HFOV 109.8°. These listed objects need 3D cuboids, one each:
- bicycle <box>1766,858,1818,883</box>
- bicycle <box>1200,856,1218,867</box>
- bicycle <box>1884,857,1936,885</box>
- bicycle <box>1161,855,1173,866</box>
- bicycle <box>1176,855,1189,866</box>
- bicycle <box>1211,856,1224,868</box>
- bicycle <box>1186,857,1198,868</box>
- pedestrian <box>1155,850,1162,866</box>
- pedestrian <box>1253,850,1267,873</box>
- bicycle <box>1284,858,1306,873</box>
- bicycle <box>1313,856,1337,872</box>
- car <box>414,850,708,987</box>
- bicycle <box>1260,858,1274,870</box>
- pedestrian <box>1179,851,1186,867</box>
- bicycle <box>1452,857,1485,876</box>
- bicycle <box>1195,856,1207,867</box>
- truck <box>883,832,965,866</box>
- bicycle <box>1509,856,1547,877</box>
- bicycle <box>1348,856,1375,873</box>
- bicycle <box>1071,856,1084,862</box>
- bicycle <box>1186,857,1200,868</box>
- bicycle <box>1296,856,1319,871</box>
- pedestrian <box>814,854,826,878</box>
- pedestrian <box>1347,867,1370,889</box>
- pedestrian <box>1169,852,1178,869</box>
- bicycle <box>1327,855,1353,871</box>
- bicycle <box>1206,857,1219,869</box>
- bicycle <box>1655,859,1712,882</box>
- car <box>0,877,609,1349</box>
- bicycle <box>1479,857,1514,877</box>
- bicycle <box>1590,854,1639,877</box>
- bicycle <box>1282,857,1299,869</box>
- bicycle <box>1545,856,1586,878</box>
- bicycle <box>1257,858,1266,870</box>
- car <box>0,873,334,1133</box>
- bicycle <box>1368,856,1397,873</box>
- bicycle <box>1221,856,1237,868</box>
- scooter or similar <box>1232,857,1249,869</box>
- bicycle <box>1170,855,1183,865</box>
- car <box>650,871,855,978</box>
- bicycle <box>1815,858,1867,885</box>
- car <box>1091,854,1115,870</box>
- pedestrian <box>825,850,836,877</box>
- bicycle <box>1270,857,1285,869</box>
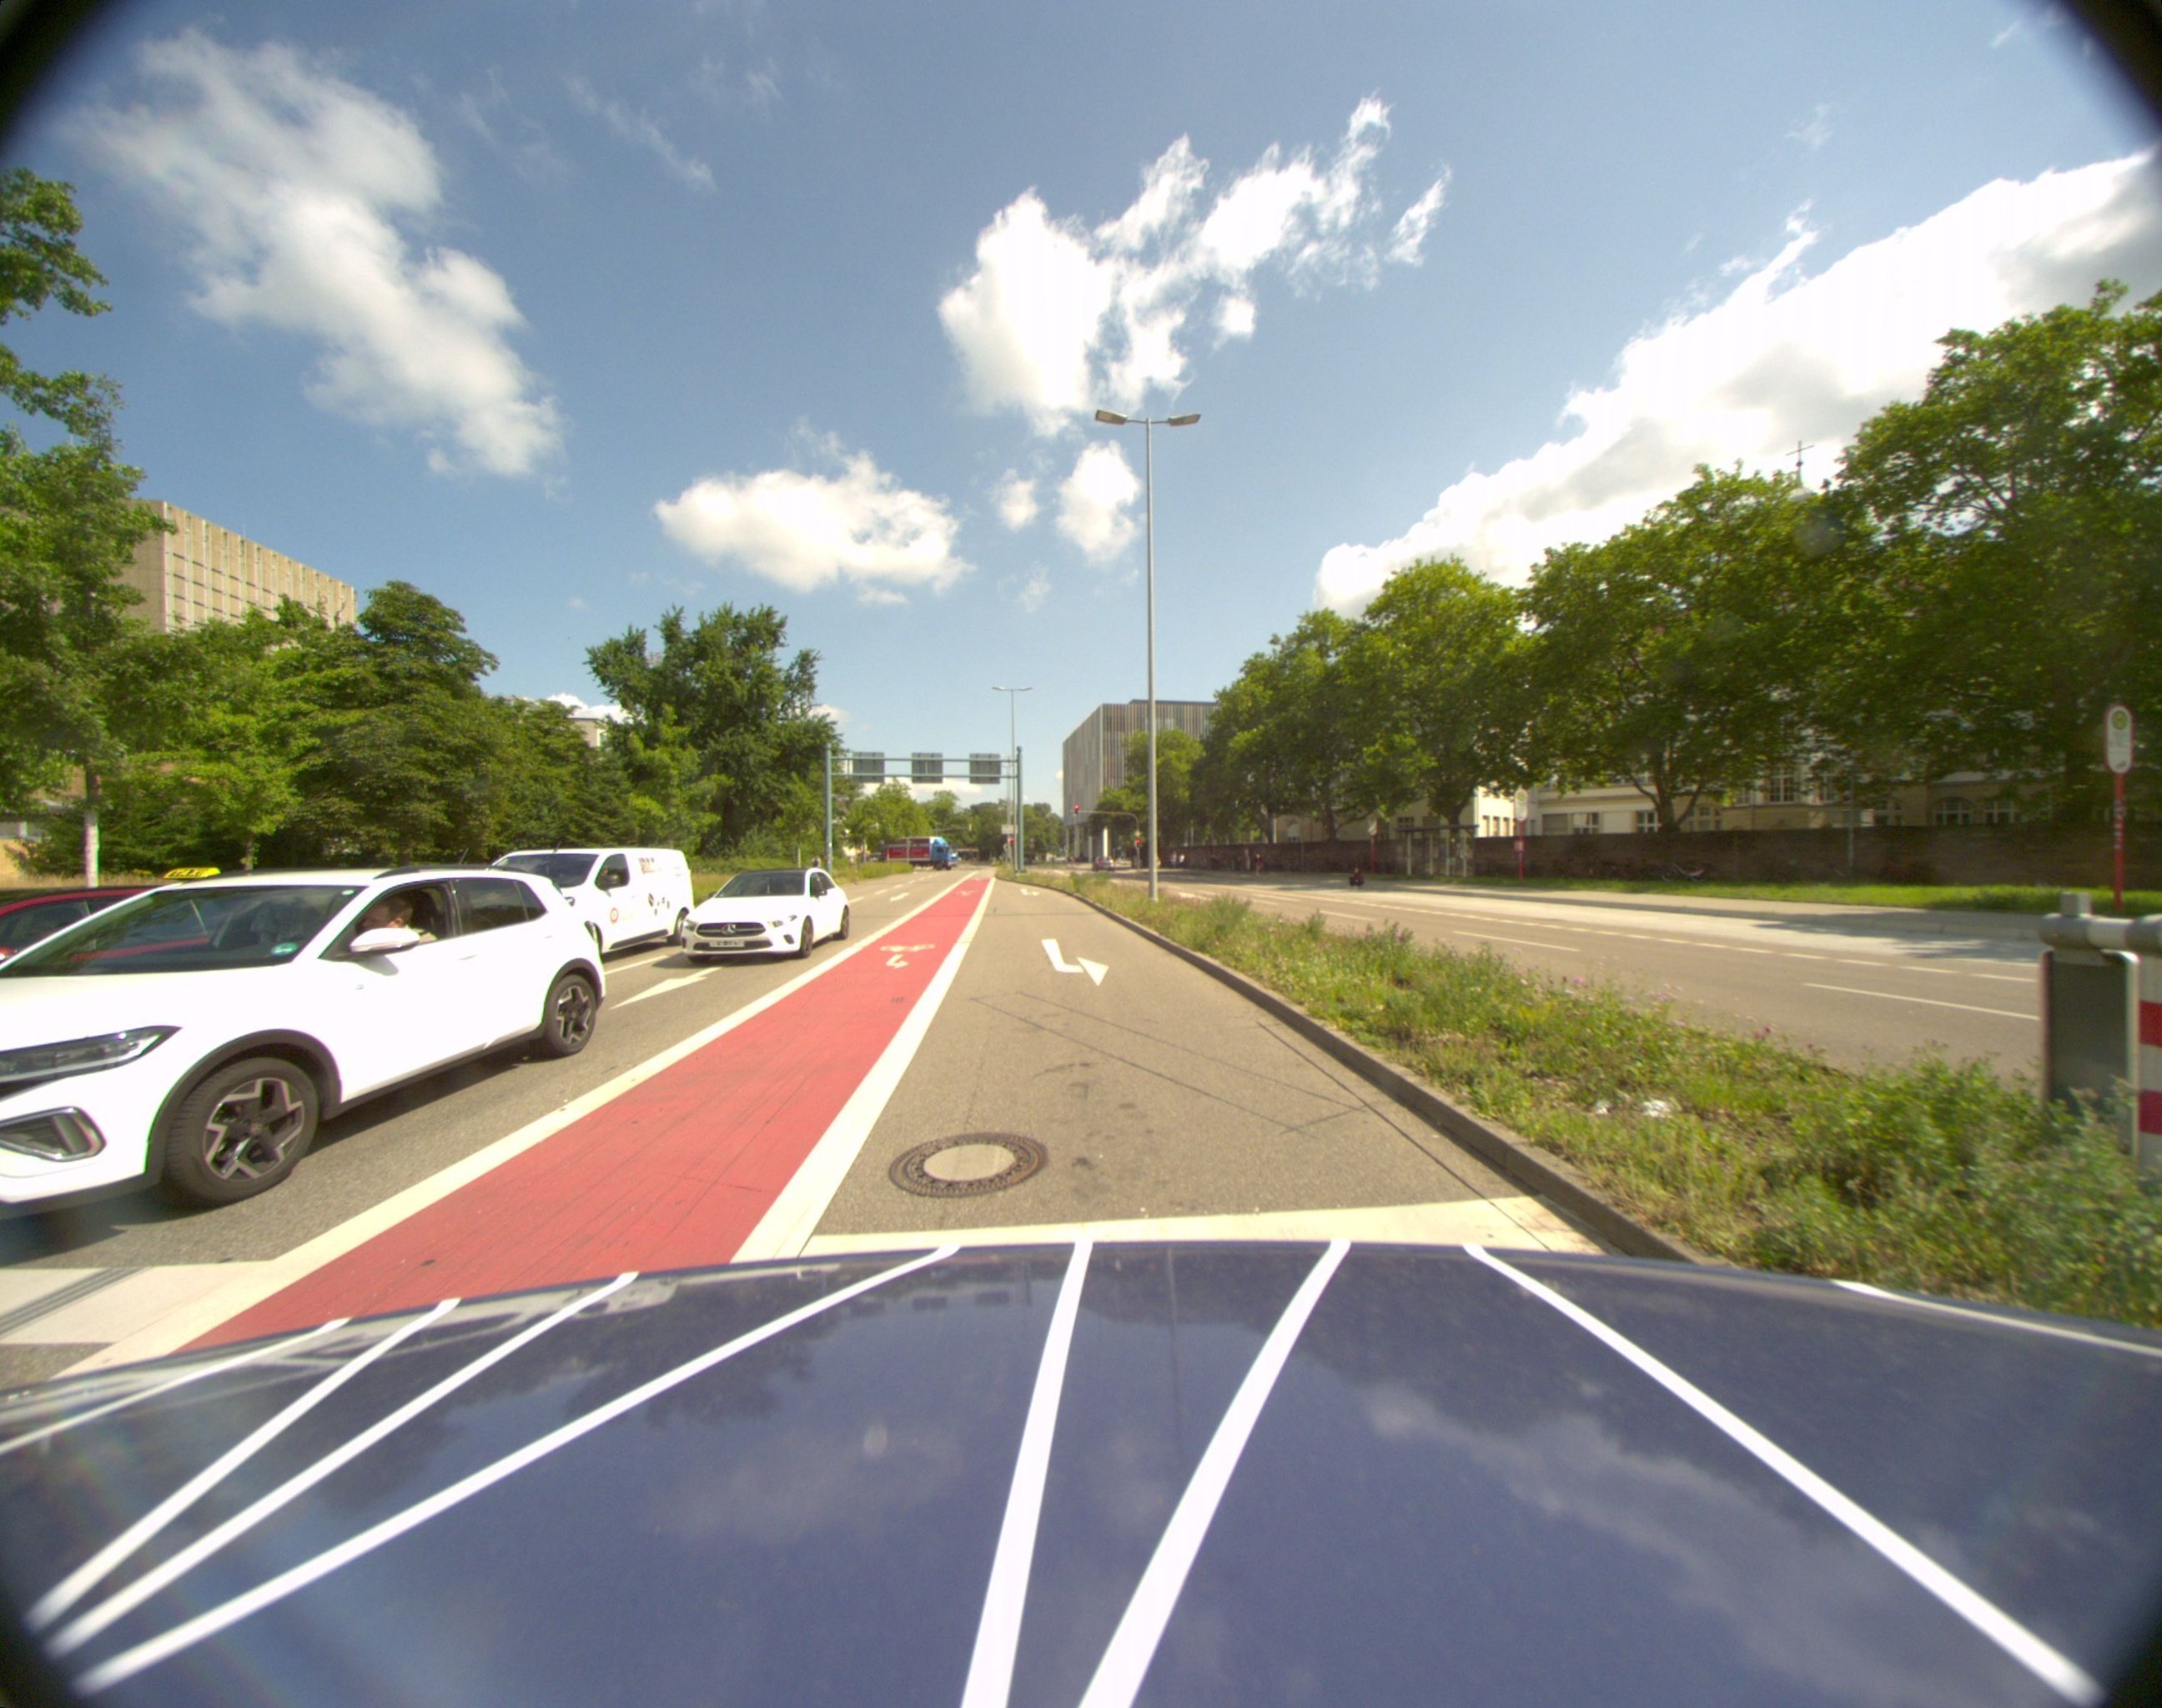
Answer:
[{"bbox_3d":[28.631,0.652,30.616,0.473,1.005,1.453,-1,0,-27],"label":"bicycle"},{"bbox_3d":[11.753,0.700,69.871,0.594,1.042,1.876,-1,0,-31],"label":"bicycle"},{"bbox_3d":[30.354,0.627,27.842,0.354,1.005,1.252,-1,0,-27],"label":"bicycle"},{"bbox_3d":[9.074,0.680,80.323,0.632,1.042,1.878,-1,0,-16],"label":"bicycle"},{"bbox_3d":[10.193,0.655,76.068,0.566,1.042,1.878,-1,0,-16],"label":"bicycle"},{"bbox_3d":[12.150,0.716,67.812,0.395,1.042,1.878,-1,0,-16],"label":"bicycle"},{"bbox_3d":[10.748,0.804,73.778,0.371,1.042,1.878,-1,0,-16],"label":"bicycle"},{"bbox_3d":[7.945,0.400,77.886,0.562,1.641,0.726,-1,1,-12],"label":"pedestrian"},{"bbox_3d":[12.303,0.515,52.208,0.658,1.600,0.744,-2,1,-5],"label":"pedestrian"},{"bbox_3d":[15.763,0.862,56.033,0.585,1.067,1.752,-1,0,-22],"label":"bicycle"},{"bbox_3d":[17.071,0.677,53.197,0.585,1.067,1.752,-1,0,-23],"label":"bicycle"},{"bbox_3d":[-8.360,0.891,12.919,1.948,1.859,4.823,-1,0,-5],"label":"car"},{"bbox_3d":[14.714,0.757,60.195,0.368,0.949,1.399,-1,0,-22],"label":"bicycle"},{"bbox_3d":[9.941,0.473,74.369,0.478,1.531,0.616,-1,1,-12],"label":"pedestrian"},{"bbox_3d":[21.752,0.682,42.655,0.585,1.067,1.628,-1,0,-28],"label":"bicycle"},{"bbox_3d":[11.329,0.726,71.841,0.371,1.042,1.878,-1,0,-16],"label":"bicycle"},{"bbox_3d":[-18.508,-0.563,89.516,9.171,3.777,2.669,-1,1,17],"label":"truck"},{"bbox_3d":[23.264,0.650,39.571,0.585,1.067,1.628,-1,0,-28],"label":"bicycle"},{"bbox_3d":[18.407,0.681,49.866,0.585,1.067,1.752,-1,0,-28],"label":"bicycle"},{"bbox_3d":[-0.501,0.774,113.174,1.771,0.887,0.639,-1,0,25],"label":"bicycle"},{"bbox_3d":[10.615,0.794,72.081,0.594,1.042,1.878,-1,0,-16],"label":"bicycle"},{"bbox_3d":[16.354,0.668,54.853,0.585,1.067,1.752,-1,0,-22],"label":"bicycle"},{"bbox_3d":[-17.485,0.794,50.869,0.625,1.571,0.708,-1,1,-6],"label":"pedestrian"},{"bbox_3d":[12.413,1.078,33.945,0.696,0.957,0.742,-1,1,-7],"label":"pedestrian"},{"bbox_3d":[8.980,0.640,73.747,0.643,1.641,0.730,-1,1,-12],"label":"pedestrian"},{"bbox_3d":[17.565,0.599,51.506,0.585,1.067,1.752,-1,0,-28],"label":"bicycle"},{"bbox_3d":[11.750,0.811,67.714,0.374,1.042,1.878,-1,0,-16],"label":"bicycle"},{"bbox_3d":[26.720,0.710,33.709,0.473,1.005,1.960,-1,0,-27],"label":"bicycle"},{"bbox_3d":[-4.888,1.006,4.560,1.796,1.530,4.009,-2,0,-5],"label":"car"},{"bbox_3d":[22.476,0.677,41.104,0.585,1.067,1.628,-1,0,-28],"label":"bicycle"},{"bbox_3d":[25.294,0.536,36.077,0.585,1.067,1.866,-1,0,-23],"label":"bicycle"},{"bbox_3d":[15.717,0.672,57.049,0.371,0.949,1.624,-1,0,-22],"label":"bicycle"},{"bbox_3d":[24.175,0.662,37.944,0.585,1.067,1.628,-1,0,-28],"label":"bicycle"},{"bbox_3d":[14.155,0.775,59.513,0.367,0.949,1.625,-1,0,3],"label":"bicycle"},{"bbox_3d":[-7.915,1.017,5.082,1.686,1.631,4.460,-1,0,-5],"label":"car"},{"bbox_3d":[19.114,0.635,48.151,0.585,1.067,1.752,-1,0,-28],"label":"bicycle"},{"bbox_3d":[12.835,0.706,66.001,0.582,1.042,1.878,-1,0,-16],"label":"bicycle"},{"bbox_3d":[13.485,0.755,64.128,0.582,1.042,1.878,-1,0,-16],"label":"scooter or similar"},{"bbox_3d":[9.808,0.638,77.982,0.632,1.042,1.878,-1,0,-16],"label":"bicycle"},{"bbox_3d":[-5.363,1.059,13.117,1.909,1.415,4.383,-1,0,-5],"label":"car"},{"bbox_3d":[29.386,0.672,29.377,0.392,1.005,1.367,-1,0,-27],"label":"bicycle"},{"bbox_3d":[2.015,0.715,71.297,1.706,1.436,4.143,1,0,-6],"label":"car"},{"bbox_3d":[-16.763,0.602,50.859,0.568,1.791,0.638,-1,1,-6],"label":"pedestrian"},{"bbox_3d":[15.213,0.695,58.793,0.368,0.949,1.399,-1,0,-22],"label":"bicycle"}]
